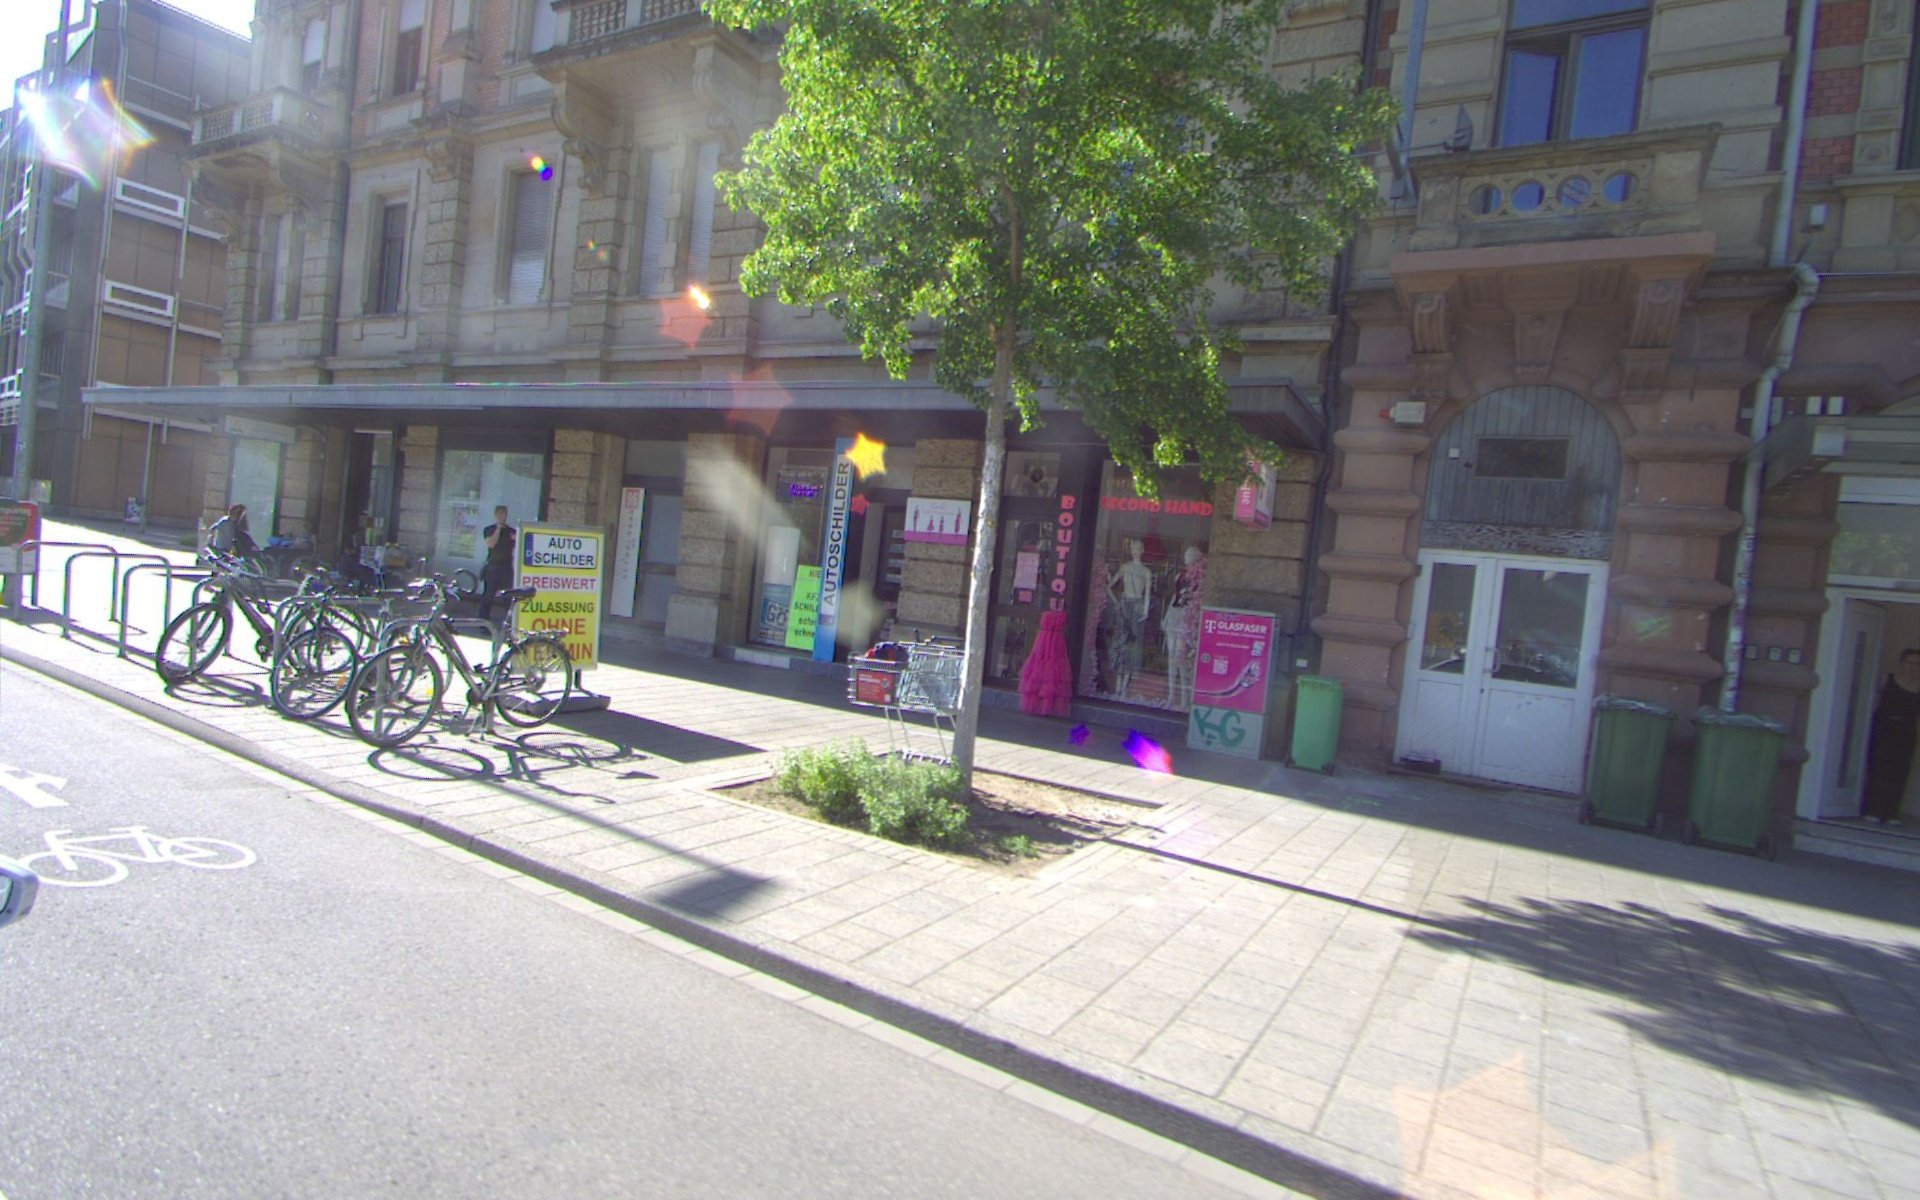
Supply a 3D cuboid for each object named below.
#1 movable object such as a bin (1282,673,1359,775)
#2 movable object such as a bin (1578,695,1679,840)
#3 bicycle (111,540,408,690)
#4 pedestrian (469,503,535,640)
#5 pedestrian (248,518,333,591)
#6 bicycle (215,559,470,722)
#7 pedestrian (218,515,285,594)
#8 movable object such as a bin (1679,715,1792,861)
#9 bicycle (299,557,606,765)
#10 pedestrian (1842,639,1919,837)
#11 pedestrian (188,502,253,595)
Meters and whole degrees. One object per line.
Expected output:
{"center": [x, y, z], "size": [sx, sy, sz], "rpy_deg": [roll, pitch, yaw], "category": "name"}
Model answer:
{"center": [3.465, 1.175, 9.653], "size": [0.468, 0.877, 0.604], "rpy_deg": [6, 2, 36], "category": "movable object such as a bin"}
{"center": [5.475, 1.338, 8.233], "size": [0.578, 1.026, 0.690], "rpy_deg": [6, 2, 36], "category": "movable object such as a bin"}
{"center": [-6.083, 0.142, 8.887], "size": [0.593, 1.135, 2.050], "rpy_deg": [6, 2, 31], "category": "bicycle"}
{"center": [-6.379, -0.392, 14.017], "size": [0.494, 1.824, 0.510], "rpy_deg": [8, 1, 39], "category": "pedestrian"}
{"center": [-12.264, -0.822, 18.443], "size": [0.691, 1.234, 1.072], "rpy_deg": [6, 3, 31], "category": "pedestrian"}
{"center": [-4.864, 0.294, 8.054], "size": [0.592, 1.125, 1.665], "rpy_deg": [6, 2, 23], "category": "bicycle"}
{"center": [-11.890, -0.764, 16.895], "size": [0.637, 1.234, 0.715], "rpy_deg": [7, 3, 37], "category": "pedestrian"}
{"center": [6.019, 1.436, 7.841], "size": [0.578, 0.986, 0.691], "rpy_deg": [6, 0, 36], "category": "movable object such as a bin"}
{"center": [-3.579, 0.395, 7.274], "size": [0.680, 1.269, 1.865], "rpy_deg": [6, 3, 30], "category": "bicycle"}
{"center": [8.636, 1.250, 9.257], "size": [0.513, 1.718, 0.639], "rpy_deg": [7, 1, 32], "category": "pedestrian"}
{"center": [-11.852, -0.813, 16.123], "size": [0.637, 1.413, 0.573], "rpy_deg": [7, 3, 30], "category": "pedestrian"}
